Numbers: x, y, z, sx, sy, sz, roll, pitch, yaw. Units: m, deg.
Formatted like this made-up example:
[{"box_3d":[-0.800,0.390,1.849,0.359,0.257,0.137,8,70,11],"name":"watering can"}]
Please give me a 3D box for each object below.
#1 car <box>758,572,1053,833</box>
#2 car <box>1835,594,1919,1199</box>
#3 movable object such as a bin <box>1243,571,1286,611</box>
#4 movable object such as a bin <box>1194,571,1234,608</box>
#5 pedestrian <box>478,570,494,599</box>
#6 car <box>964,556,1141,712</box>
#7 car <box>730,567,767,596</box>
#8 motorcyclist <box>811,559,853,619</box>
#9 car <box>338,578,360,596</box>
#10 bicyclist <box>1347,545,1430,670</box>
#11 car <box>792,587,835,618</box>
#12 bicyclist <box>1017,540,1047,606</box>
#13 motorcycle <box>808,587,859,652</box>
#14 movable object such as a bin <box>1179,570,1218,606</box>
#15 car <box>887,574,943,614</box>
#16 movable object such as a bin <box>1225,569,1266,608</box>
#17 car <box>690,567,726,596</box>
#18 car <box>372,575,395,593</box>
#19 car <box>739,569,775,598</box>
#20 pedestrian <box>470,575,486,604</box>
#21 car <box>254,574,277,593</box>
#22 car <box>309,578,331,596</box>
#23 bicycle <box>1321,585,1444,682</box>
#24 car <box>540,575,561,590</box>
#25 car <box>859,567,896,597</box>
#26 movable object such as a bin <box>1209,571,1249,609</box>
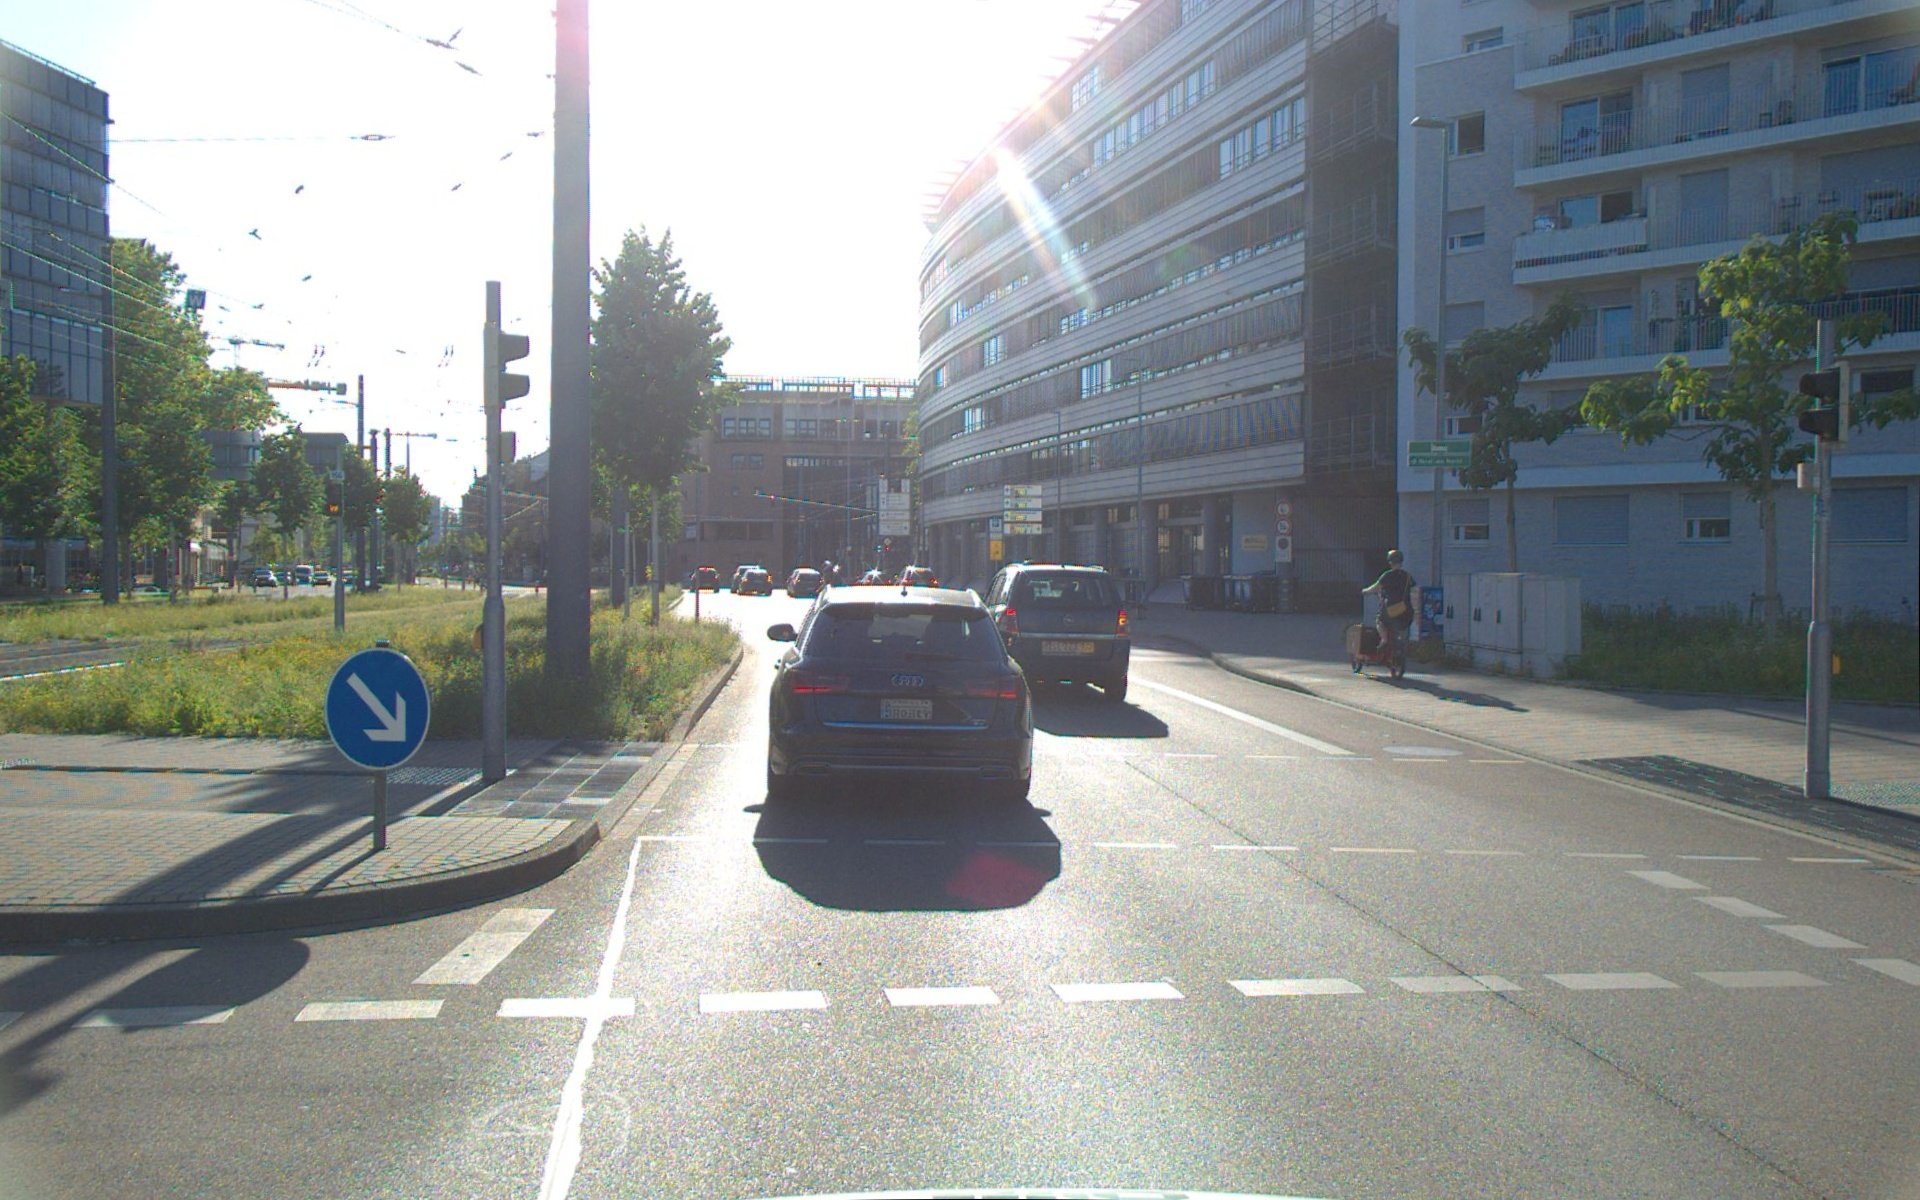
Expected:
[{"box_3d":[-0.399,0.614,12.391,1.805,1.479,4.000,2,2,-2],"name":"car"},{"box_3d":[3.203,0.816,2.072,1.710,1.507,4.628,1,2,0],"name":"car"},{"box_3d":[10.610,-0.329,57.696,1.044,1.355,1.118,0,1,-21],"name":"movable object such as a bin"},{"box_3d":[9.357,-0.405,60.993,1.044,1.355,1.118,0,1,-21],"name":"movable object such as a bin"},{"box_3d":[-30.545,-1.017,106.528,0.885,1.856,0.827,0,0,-10],"name":"pedestrian"},{"box_3d":[1.098,0.346,21.651,1.711,1.725,4.258,3,2,-4],"name":"car"},{"box_3d":[-13.025,-1.155,101.615,1.958,1.735,3.989,0,1,-11],"name":"car"},{"box_3d":[-2.925,-0.248,37.788,0.848,1.349,0.679,0,1,-14],"name":"motorcyclist"},{"box_3d":[-61.239,-1.282,165.797,1.966,1.713,3.974,-1,2,-22],"name":"car"},{"box_3d":[6.096,0.093,23.569,0.754,1.736,0.926,0,1,-17],"name":"bicyclist"},{"box_3d":[-8.199,0.132,92.185,1.958,1.624,3.989,0,1,-12],"name":"car"},{"box_3d":[1.842,-0.697,42.390,0.640,1.671,0.973,1,2,10],"name":"bicyclist"},{"box_3d":[-2.901,0.429,37.736,0.848,1.417,1.887,0,2,-13],"name":"motorcycle"},{"box_3d":[8.935,-0.451,62.031,1.044,1.355,1.118,0,1,-21],"name":"movable object such as a bin"},{"box_3d":[-2.323,-0.338,83.962,1.968,1.744,4.359,2,2,-13],"name":"car"},{"box_3d":[10.149,-0.407,58.872,1.044,1.355,1.118,0,1,-21],"name":"movable object such as a bin"},{"box_3d":[-15.351,-1.161,100.579,1.958,1.735,3.989,0,1,-11],"name":"car"},{"box_3d":[-57.413,-1.614,164.581,1.966,1.713,3.974,-1,2,-22],"name":"car"},{"box_3d":[-11.699,-0.988,95.078,1.956,1.624,3.993,0,1,-8],"name":"car"},{"box_3d":[-31.281,-0.679,107.304,0.885,1.856,0.827,0,0,-10],"name":"pedestrian"},{"box_3d":[-67.821,-1.645,161.580,1.966,1.713,3.974,-1,2,-22],"name":"car"},{"box_3d":[-63.898,-1.324,165.044,1.966,1.713,3.974,-1,2,-22],"name":"car"},{"box_3d":[6.038,0.452,23.774,0.753,1.284,2.073,0,2,-16],"name":"bicycle"},{"box_3d":[-47.448,-2.074,191.669,1.963,1.735,3.978,0,1,-19],"name":"car"},{"box_3d":[-5.206,-1.165,104.403,1.956,1.870,3.993,0,1,-8],"name":"car"},{"box_3d":[9.752,-0.359,59.939,1.044,1.355,1.118,0,1,-21],"name":"movable object such as a bin"}]
